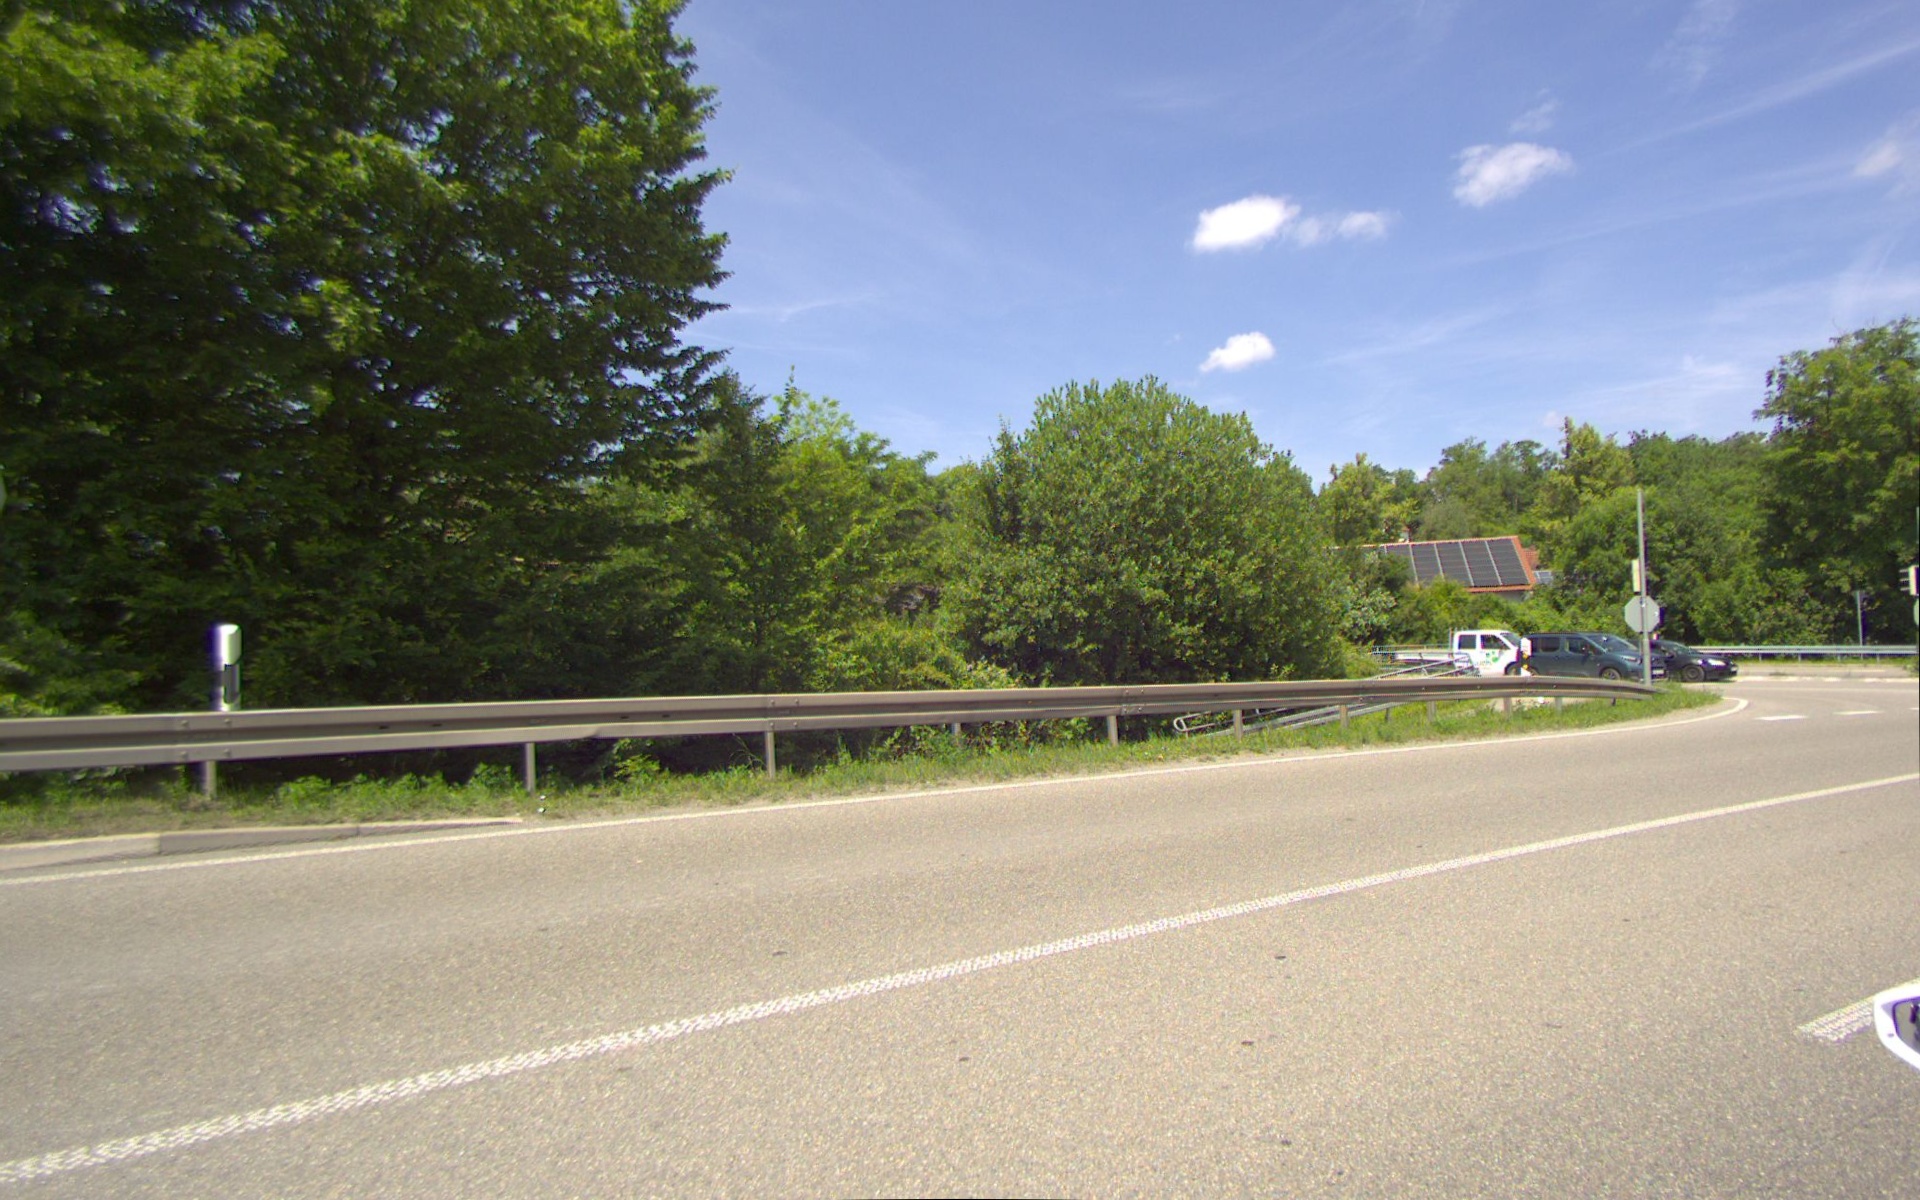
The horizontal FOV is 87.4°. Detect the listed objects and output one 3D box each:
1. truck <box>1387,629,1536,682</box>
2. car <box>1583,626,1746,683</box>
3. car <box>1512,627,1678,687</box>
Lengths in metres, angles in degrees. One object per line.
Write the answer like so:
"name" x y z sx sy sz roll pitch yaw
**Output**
"truck" 19.749 2.155 39.739 2.028 1.815 4.832 4 -2 -41
"car" 23.931 1.806 34.305 1.970 1.793 4.229 2 -2 -20
"car" 20.334 1.779 32.373 1.970 1.793 4.229 2 -2 -20
